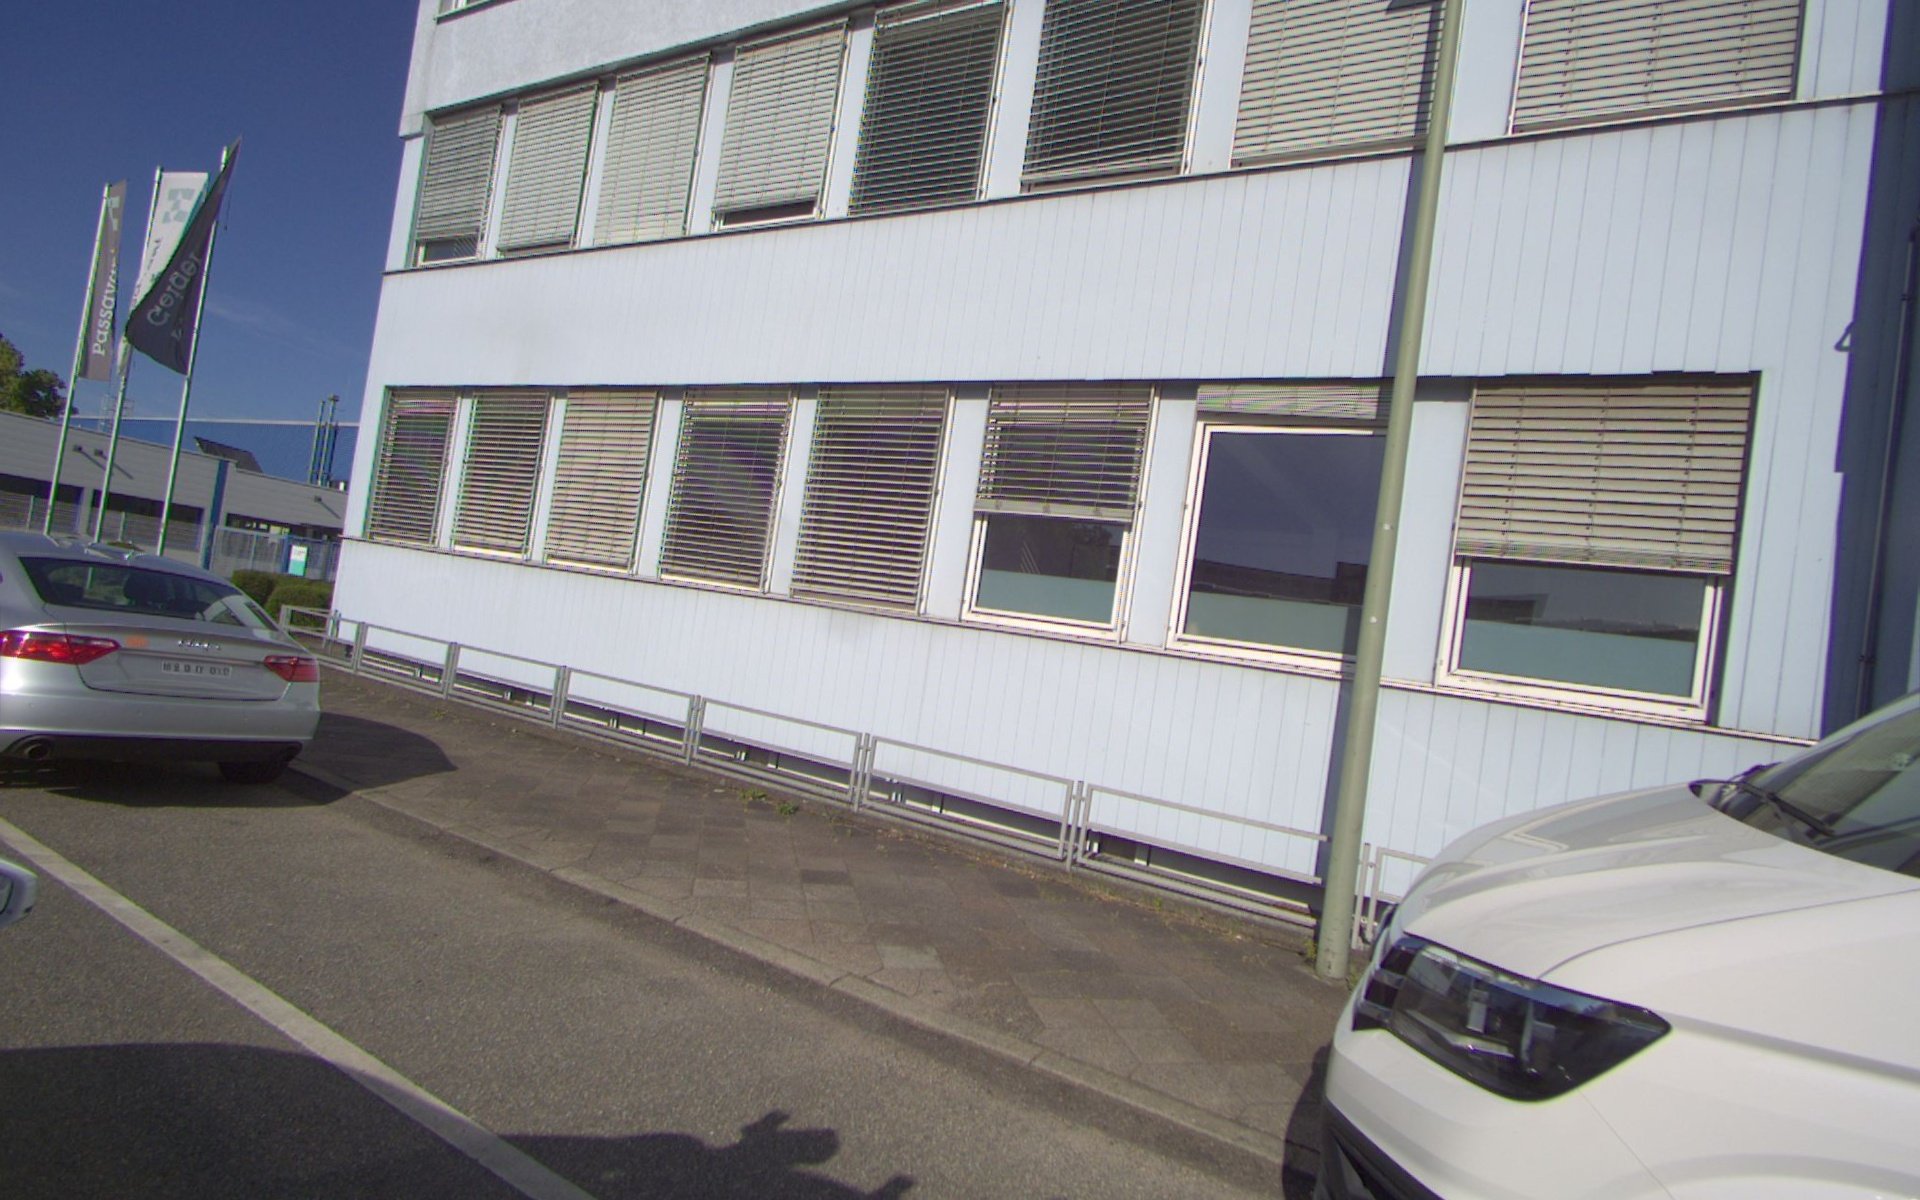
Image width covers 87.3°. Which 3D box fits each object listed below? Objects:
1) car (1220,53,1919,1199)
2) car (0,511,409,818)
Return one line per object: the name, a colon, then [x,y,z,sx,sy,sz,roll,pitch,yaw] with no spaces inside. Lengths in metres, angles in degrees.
car: [3.668,0.774,1.360,5.949,2.629,1.997,8,0,31]
car: [-6.149,0.216,6.751,5.039,1.419,1.901,6,-5,32]
